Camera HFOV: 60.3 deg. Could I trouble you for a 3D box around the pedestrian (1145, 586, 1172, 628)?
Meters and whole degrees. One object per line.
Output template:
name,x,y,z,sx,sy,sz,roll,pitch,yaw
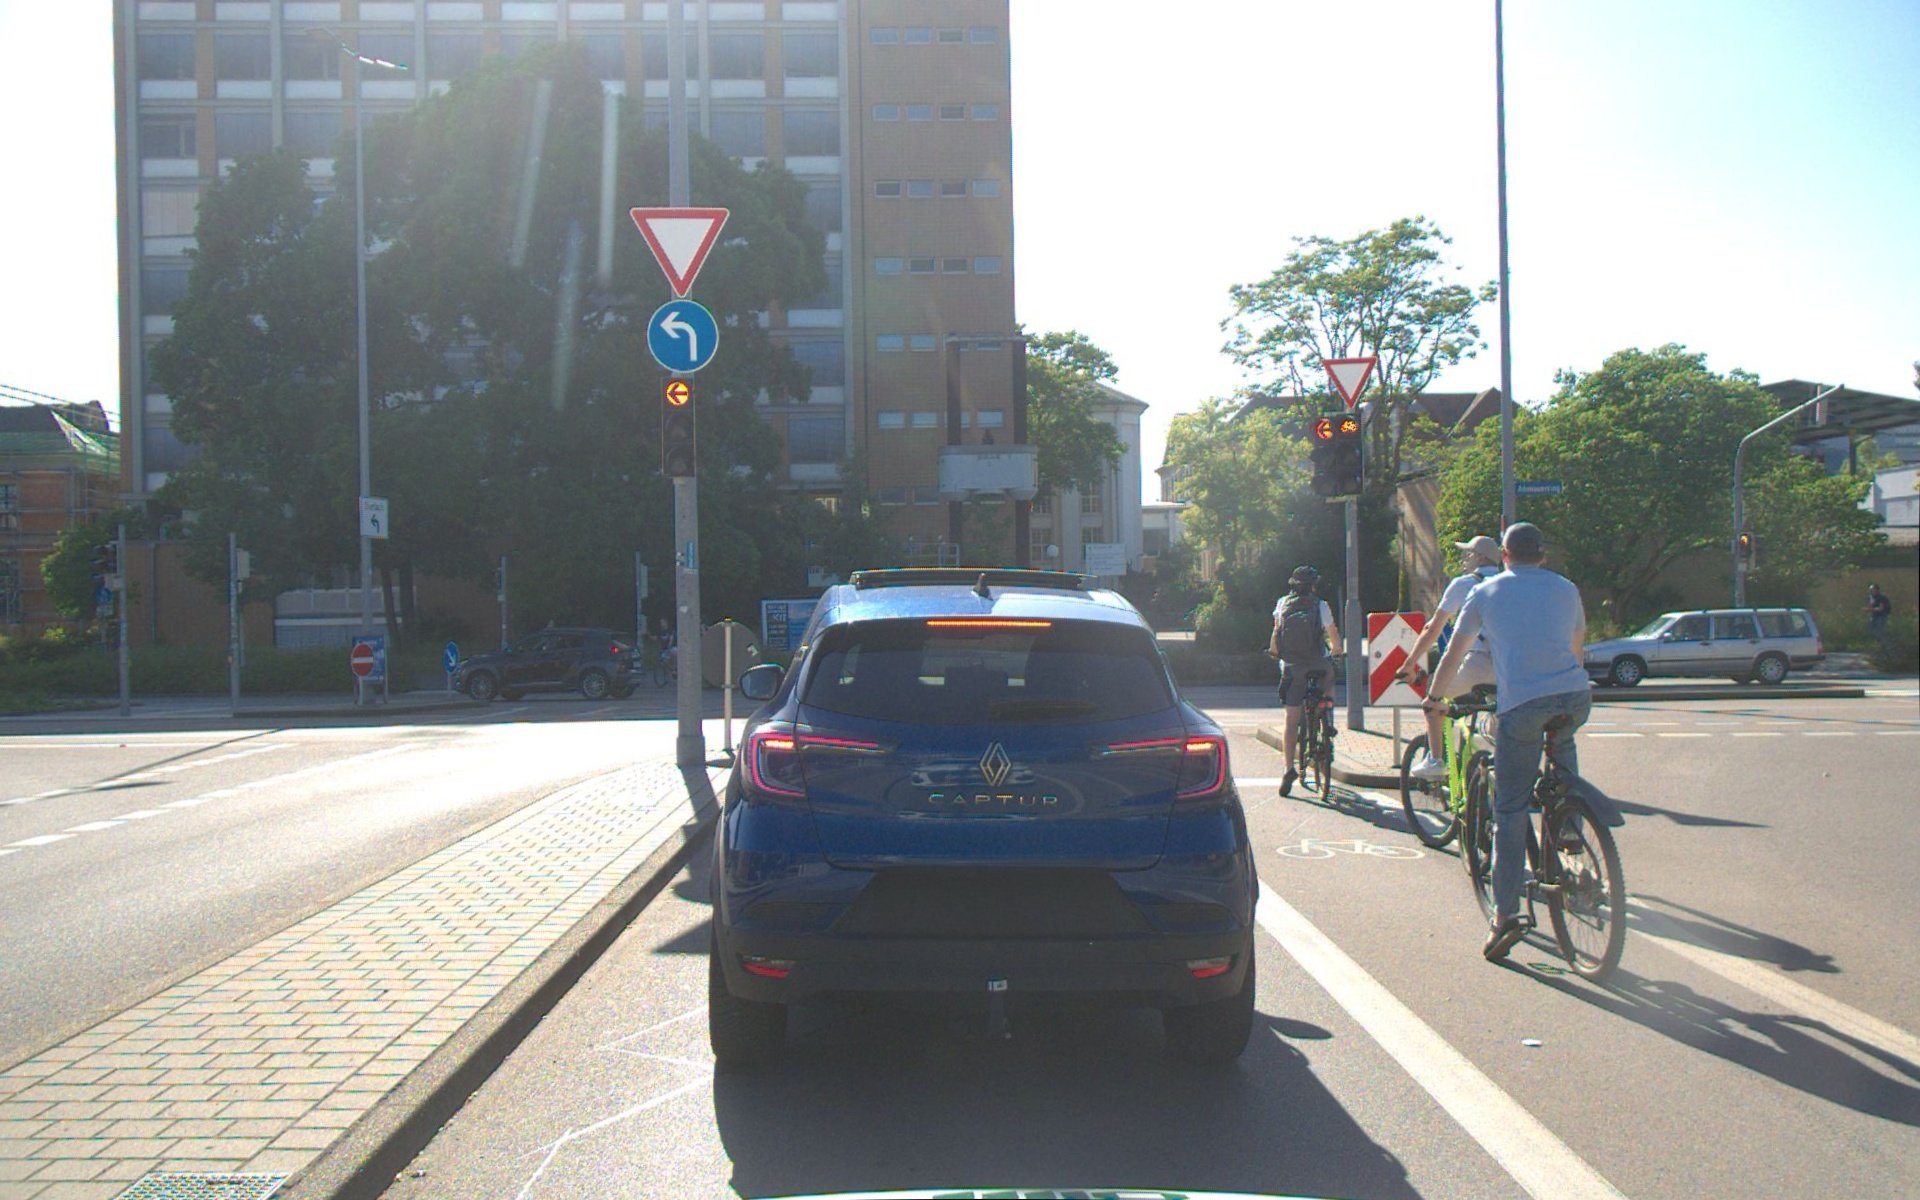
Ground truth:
pedestrian,9.807,0.337,81.867,1.132,2.049,1.164,-1,0,-1

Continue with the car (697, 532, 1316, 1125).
car,0.084,0.647,6.659,1.758,1.684,3.852,1,0,-2

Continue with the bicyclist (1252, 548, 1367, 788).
bicyclist,2.740,0.519,13.041,0.663,1.816,0.939,1,-1,-2

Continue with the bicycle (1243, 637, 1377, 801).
bicycle,2.720,0.888,13.029,0.602,1.158,1.825,0,0,-2

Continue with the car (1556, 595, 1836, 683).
car,14.690,0.768,33.259,4.760,1.621,1.939,-1,0,6

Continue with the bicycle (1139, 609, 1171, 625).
bicycle,11.203,0.985,94.995,1.735,0.914,0.765,-1,0,-1

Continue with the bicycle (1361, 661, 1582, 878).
bicycle,2.930,0.931,9.668,0.657,1.069,1.843,1,0,-2

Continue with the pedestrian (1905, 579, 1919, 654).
pedestrian,24.945,0.403,42.109,1.269,1.888,0.967,-1,0,11

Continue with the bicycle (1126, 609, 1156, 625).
bicycle,10.857,1.016,99.354,1.735,0.908,0.765,-1,0,-1

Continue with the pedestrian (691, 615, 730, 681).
pedestrian,-7.268,1.384,48.240,0.912,1.888,0.808,-1,0,8

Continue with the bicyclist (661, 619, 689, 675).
bicyclist,-7.542,1.245,43.712,0.637,1.437,0.635,-1,-3,-17

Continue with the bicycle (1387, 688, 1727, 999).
bicycle,2.532,0.979,7.279,0.732,1.069,1.902,-1,0,-2

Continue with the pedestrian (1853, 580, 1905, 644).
pedestrian,23.879,0.313,42.980,0.960,1.632,0.827,-1,0,13

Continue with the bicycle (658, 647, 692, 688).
bicycle,-7.552,1.791,43.801,0.687,1.025,1.860,-1,-3,-16

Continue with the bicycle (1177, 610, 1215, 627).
bicycle,11.860,0.933,83.204,1.739,0.837,0.763,-1,0,-11

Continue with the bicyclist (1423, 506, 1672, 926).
bicyclist,2.528,0.470,7.204,0.725,1.703,0.865,-1,0,-3

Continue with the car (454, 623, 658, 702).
car,-8.830,1.355,36.292,3.901,1.598,1.837,-1,0,11

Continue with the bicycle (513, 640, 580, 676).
bicycle,-11.763,1.654,47.056,1.827,0.975,0.623,-1,0,24

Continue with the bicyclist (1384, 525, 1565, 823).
bicyclist,2.940,0.404,9.541,0.660,1.610,1.081,1,0,-2

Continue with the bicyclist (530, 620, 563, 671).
bicyclist,-11.765,1.297,47.058,0.624,1.437,0.649,-1,0,23
